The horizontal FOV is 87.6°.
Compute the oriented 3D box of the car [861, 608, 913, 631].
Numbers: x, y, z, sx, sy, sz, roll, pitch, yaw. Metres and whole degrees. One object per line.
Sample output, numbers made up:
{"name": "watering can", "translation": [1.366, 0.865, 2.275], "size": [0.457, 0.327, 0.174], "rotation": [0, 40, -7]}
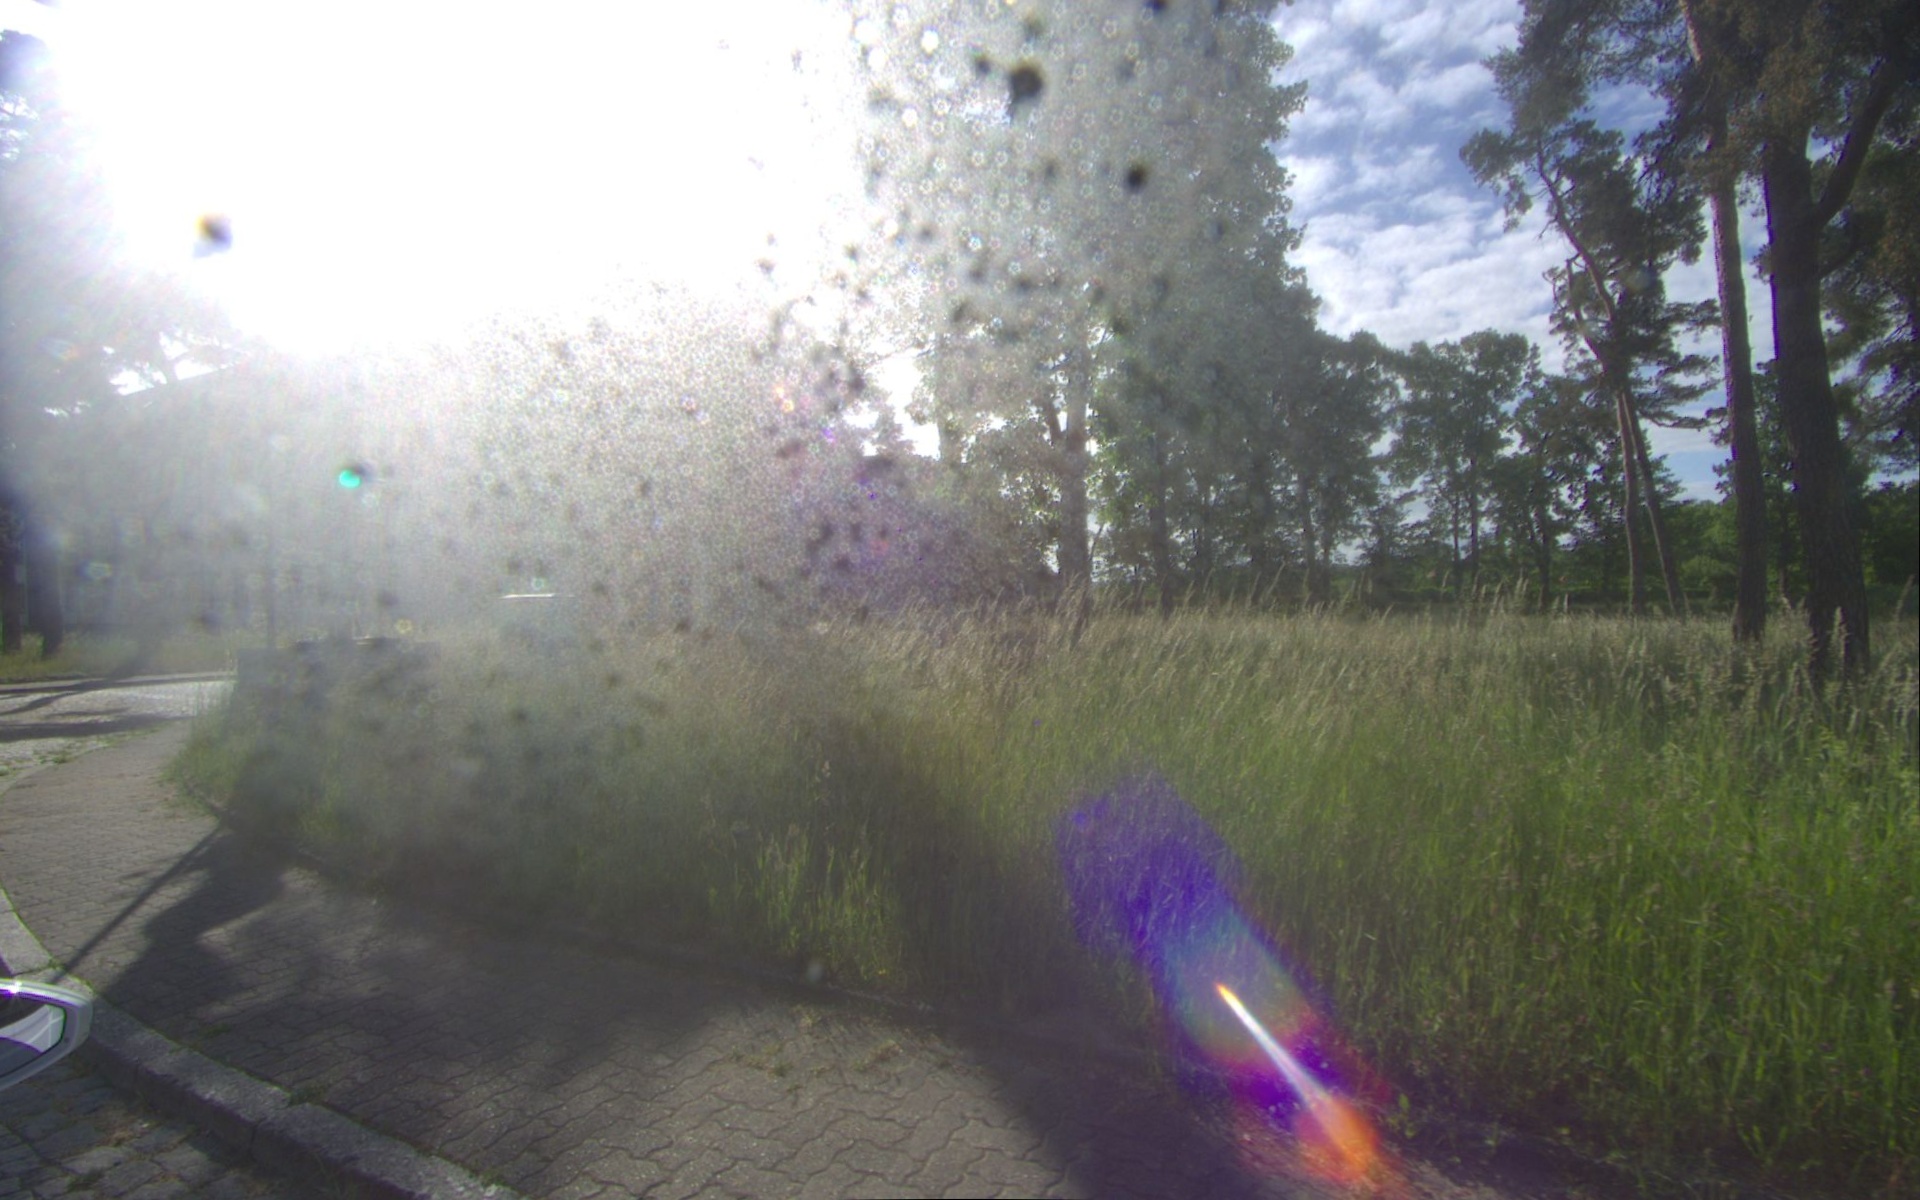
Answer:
{"name": "car", "translation": [-4.979, 1.329, 68.869], "size": [1.818, 1.483, 3.985], "rotation": [-1, 0, 27]}

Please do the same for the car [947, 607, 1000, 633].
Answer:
{"name": "car", "translation": [0.926, 1.249, 64.364], "size": [1.826, 1.620, 3.985], "rotation": [-1, 0, 27]}
